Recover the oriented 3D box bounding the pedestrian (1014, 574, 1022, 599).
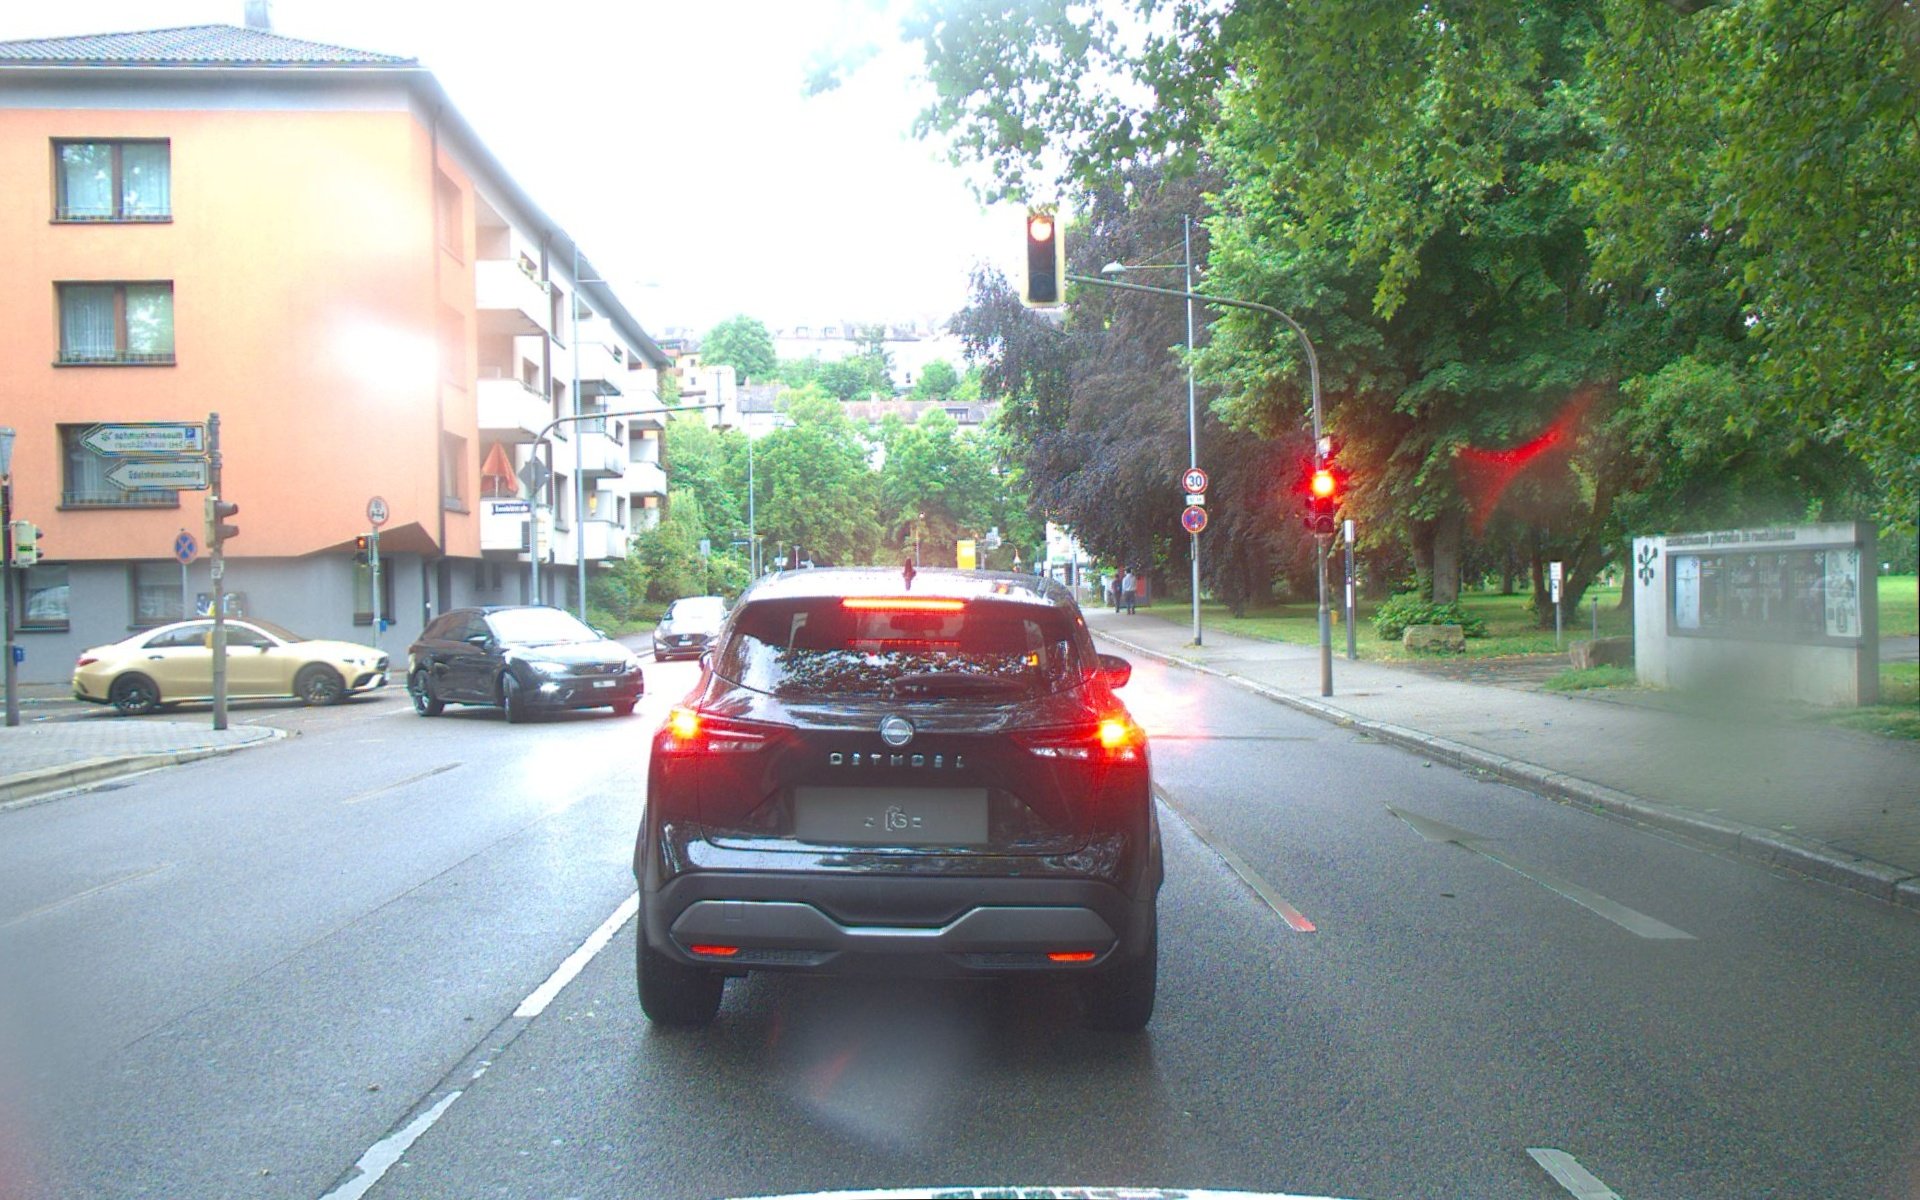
[{"bbox_3d":[4.397,-1.002,124.741,0.498,1.833,0.619,-2,0,-1],"label":"pedestrian"}]

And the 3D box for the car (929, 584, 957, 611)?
[{"bbox_3d":[-1.038,-0.164,98.633,1.601,1.559,3.967,-2,0,-1],"label":"car"}]

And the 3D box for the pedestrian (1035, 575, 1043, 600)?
[{"bbox_3d":[5.905,-0.938,124.145,0.498,1.833,0.619,-2,0,-2],"label":"pedestrian"}]

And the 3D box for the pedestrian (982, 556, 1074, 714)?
[{"bbox_3d":[0.836,0.423,20.413,1.017,1.909,0.656,0,0,-11],"label":"pedestrian"}]

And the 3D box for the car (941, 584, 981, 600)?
[{"bbox_3d":[0.078,-0.841,174.055,3.899,1.559,1.629,-2,0,-22],"label":"car"}]

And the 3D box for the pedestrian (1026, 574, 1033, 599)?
[{"bbox_3d":[5.212,-1.004,124.058,0.498,1.833,0.659,-2,0,-1],"label":"pedestrian"}]

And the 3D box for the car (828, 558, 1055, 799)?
[{"bbox_3d":[-0.165,0.578,14.399,1.664,1.776,3.640,-2,0,-1],"label":"car"}]

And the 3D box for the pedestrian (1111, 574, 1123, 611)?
[{"bbox_3d":[6.536,-0.322,68.856,0.382,1.528,0.559,-2,0,-1],"label":"pedestrian"}]

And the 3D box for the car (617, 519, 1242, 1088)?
[{"bbox_3d":[-0.113,0.602,6.987,1.874,1.709,3.999,0,0,-1],"label":"car"}]

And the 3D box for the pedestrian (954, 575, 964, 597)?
[{"bbox_3d":[-0.106,-1.143,135.255,0.498,1.702,0.658,-2,0,27],"label":"pedestrian"}]

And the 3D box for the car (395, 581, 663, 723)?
[{"bbox_3d":[-5.819,0.658,22.051,1.835,1.654,4.076,-2,0,-41],"label":"car"}]

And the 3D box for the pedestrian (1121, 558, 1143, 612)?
[{"bbox_3d":[6.678,-0.573,64.366,0.710,2.049,0.851,-2,0,-1],"label":"pedestrian"}]

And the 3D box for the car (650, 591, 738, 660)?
[{"bbox_3d":[-6.519,0.584,40.847,1.760,1.560,3.864,-2,0,-4],"label":"car"}]

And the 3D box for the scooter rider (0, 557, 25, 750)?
[{"bbox_3d":[-9.314,0.505,15.509,0.718,1.797,0.645,-1,-1,0],"label":"scooter rider"}]

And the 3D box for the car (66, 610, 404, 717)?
[{"bbox_3d":[-11.413,0.969,26.332,4.551,1.428,1.827,-2,0,-10],"label":"car"}]

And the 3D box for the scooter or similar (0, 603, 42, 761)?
[{"bbox_3d":[-9.349,0.766,15.420,0.798,1.471,1.398,0,-1,-1],"label":"scooter or similar"}]

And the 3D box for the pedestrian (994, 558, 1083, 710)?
[{"bbox_3d":[1.002,0.427,21.167,1.017,1.909,0.656,0,0,-11],"label":"pedestrian"}]

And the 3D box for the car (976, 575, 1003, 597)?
[{"bbox_3d":[2.413,-1.132,134.701,1.952,1.765,4.002,1,0,4],"label":"car"}]

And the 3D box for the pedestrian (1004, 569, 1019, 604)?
[{"bbox_3d":[2.733,-0.725,87.630,0.501,1.833,0.615,-2,0,-21],"label":"pedestrian"}]
